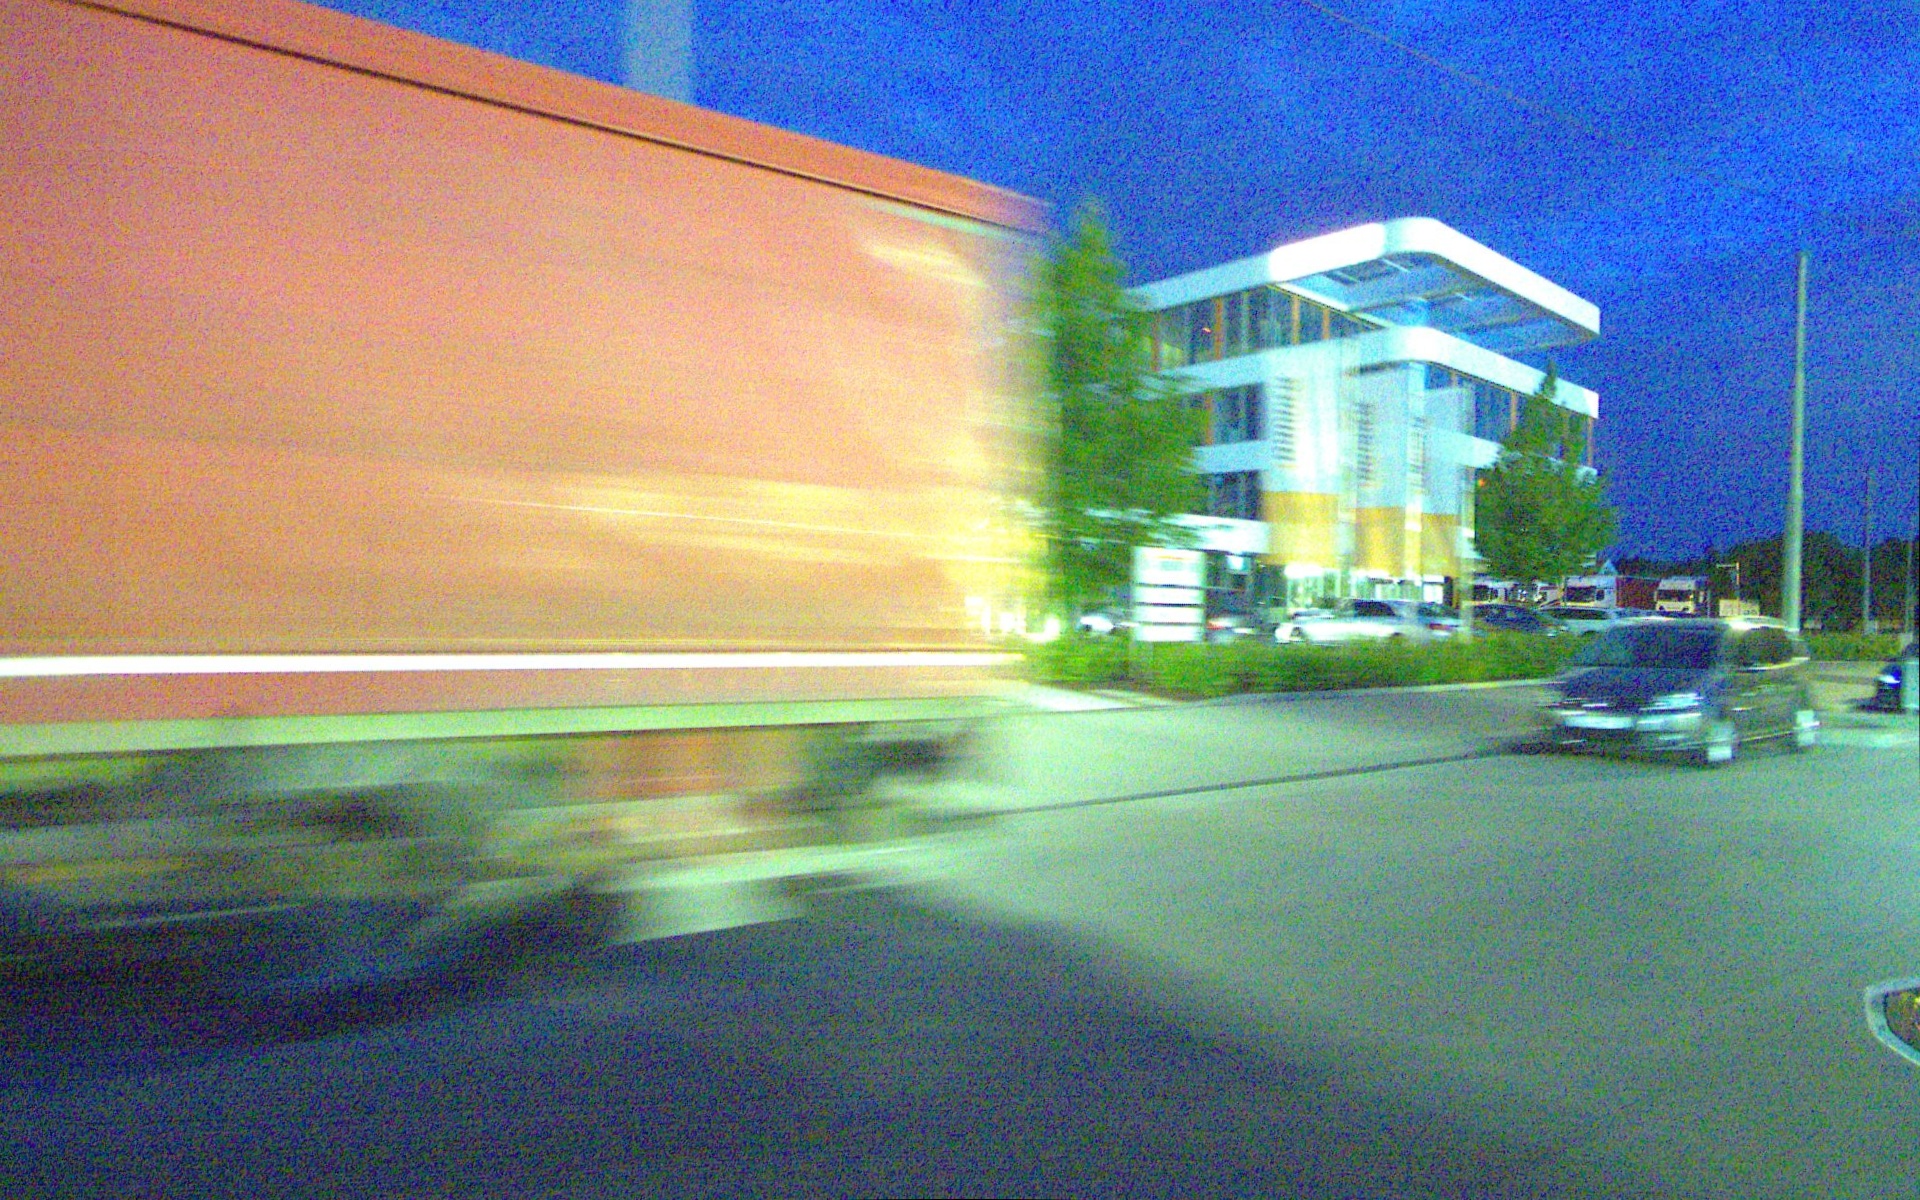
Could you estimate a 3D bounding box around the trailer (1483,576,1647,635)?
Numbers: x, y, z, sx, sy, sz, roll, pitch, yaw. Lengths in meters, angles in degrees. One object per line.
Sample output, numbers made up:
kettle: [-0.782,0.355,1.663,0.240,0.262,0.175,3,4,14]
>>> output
trailer: [49.239,0.489,81.569,14.784,4.416,3.052,1,1,-22]

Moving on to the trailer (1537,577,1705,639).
trailer: [51.706,0.677,78.368,14.784,4.416,3.052,1,1,-22]

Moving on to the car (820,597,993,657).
car: [-1.417,0.718,27.535,4.423,1.477,1.888,1,1,-37]

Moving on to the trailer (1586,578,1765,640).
trailer: [53.275,0.684,74.645,14.777,4.204,3.053,1,1,-21]

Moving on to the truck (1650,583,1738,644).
truck: [49.538,0.895,67.816,4.446,3.985,3.046,1,1,-28]

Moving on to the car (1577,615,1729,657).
car: [26.544,1.353,38.605,2.040,1.471,4.419,1,-1,-35]

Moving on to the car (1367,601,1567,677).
car: [13.405,0.984,26.756,1.945,1.840,4.371,1,-1,-38]

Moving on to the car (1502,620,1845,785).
car: [8.588,1.071,11.980,4.446,1.614,1.855,1,-1,-33]

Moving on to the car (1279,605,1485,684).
car: [10.781,1.074,25.963,1.945,1.840,4.572,1,-1,-38]

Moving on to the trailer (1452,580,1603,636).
trailer: [48.415,0.754,85.516,14.797,4.416,3.049,1,1,-25]

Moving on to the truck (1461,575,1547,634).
truck: [42.747,0.359,78.915,5.485,4.416,3.052,1,1,-22]

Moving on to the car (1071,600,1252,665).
car: [4.962,0.765,25.288,1.812,1.472,4.370,1,-1,-38]

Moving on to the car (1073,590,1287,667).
car: [4.659,0.563,21.803,1.875,1.502,4.370,1,-1,-38]

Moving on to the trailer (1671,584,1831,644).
trailer: [56.422,1.069,71.411,14.811,3.985,3.046,1,1,-28]

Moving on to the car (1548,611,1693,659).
car: [24.324,1.259,37.107,1.825,1.600,4.100,1,-1,-38]

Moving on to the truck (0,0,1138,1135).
truck: [-3.826,-0.551,3.865,9.227,4.175,2.760,1,-1,-29]

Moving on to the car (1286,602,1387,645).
car: [15.385,0.948,41.004,4.165,1.663,1.978,1,0,-38]

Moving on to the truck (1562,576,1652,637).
truck: [46.359,0.460,71.997,4.862,4.204,3.053,1,1,-20]

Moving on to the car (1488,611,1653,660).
car: [20.304,1.144,33.576,1.834,1.498,4.370,1,-1,-38]

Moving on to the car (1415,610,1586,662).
car: [16.324,1.044,30.501,1.811,1.412,4.234,1,-1,-38]

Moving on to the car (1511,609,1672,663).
car: [21.934,1.211,35.029,1.946,1.703,4.368,1,-1,-39]

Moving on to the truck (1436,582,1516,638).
truck: [42.503,0.795,82.770,5.490,4.416,3.049,1,1,-25]

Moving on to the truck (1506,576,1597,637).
truck: [44.360,0.486,75.378,5.484,4.416,3.052,1,1,-22]

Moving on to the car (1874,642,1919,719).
car: [19.583,1.552,19.765,4.324,1.389,1.799,1,-2,-40]
